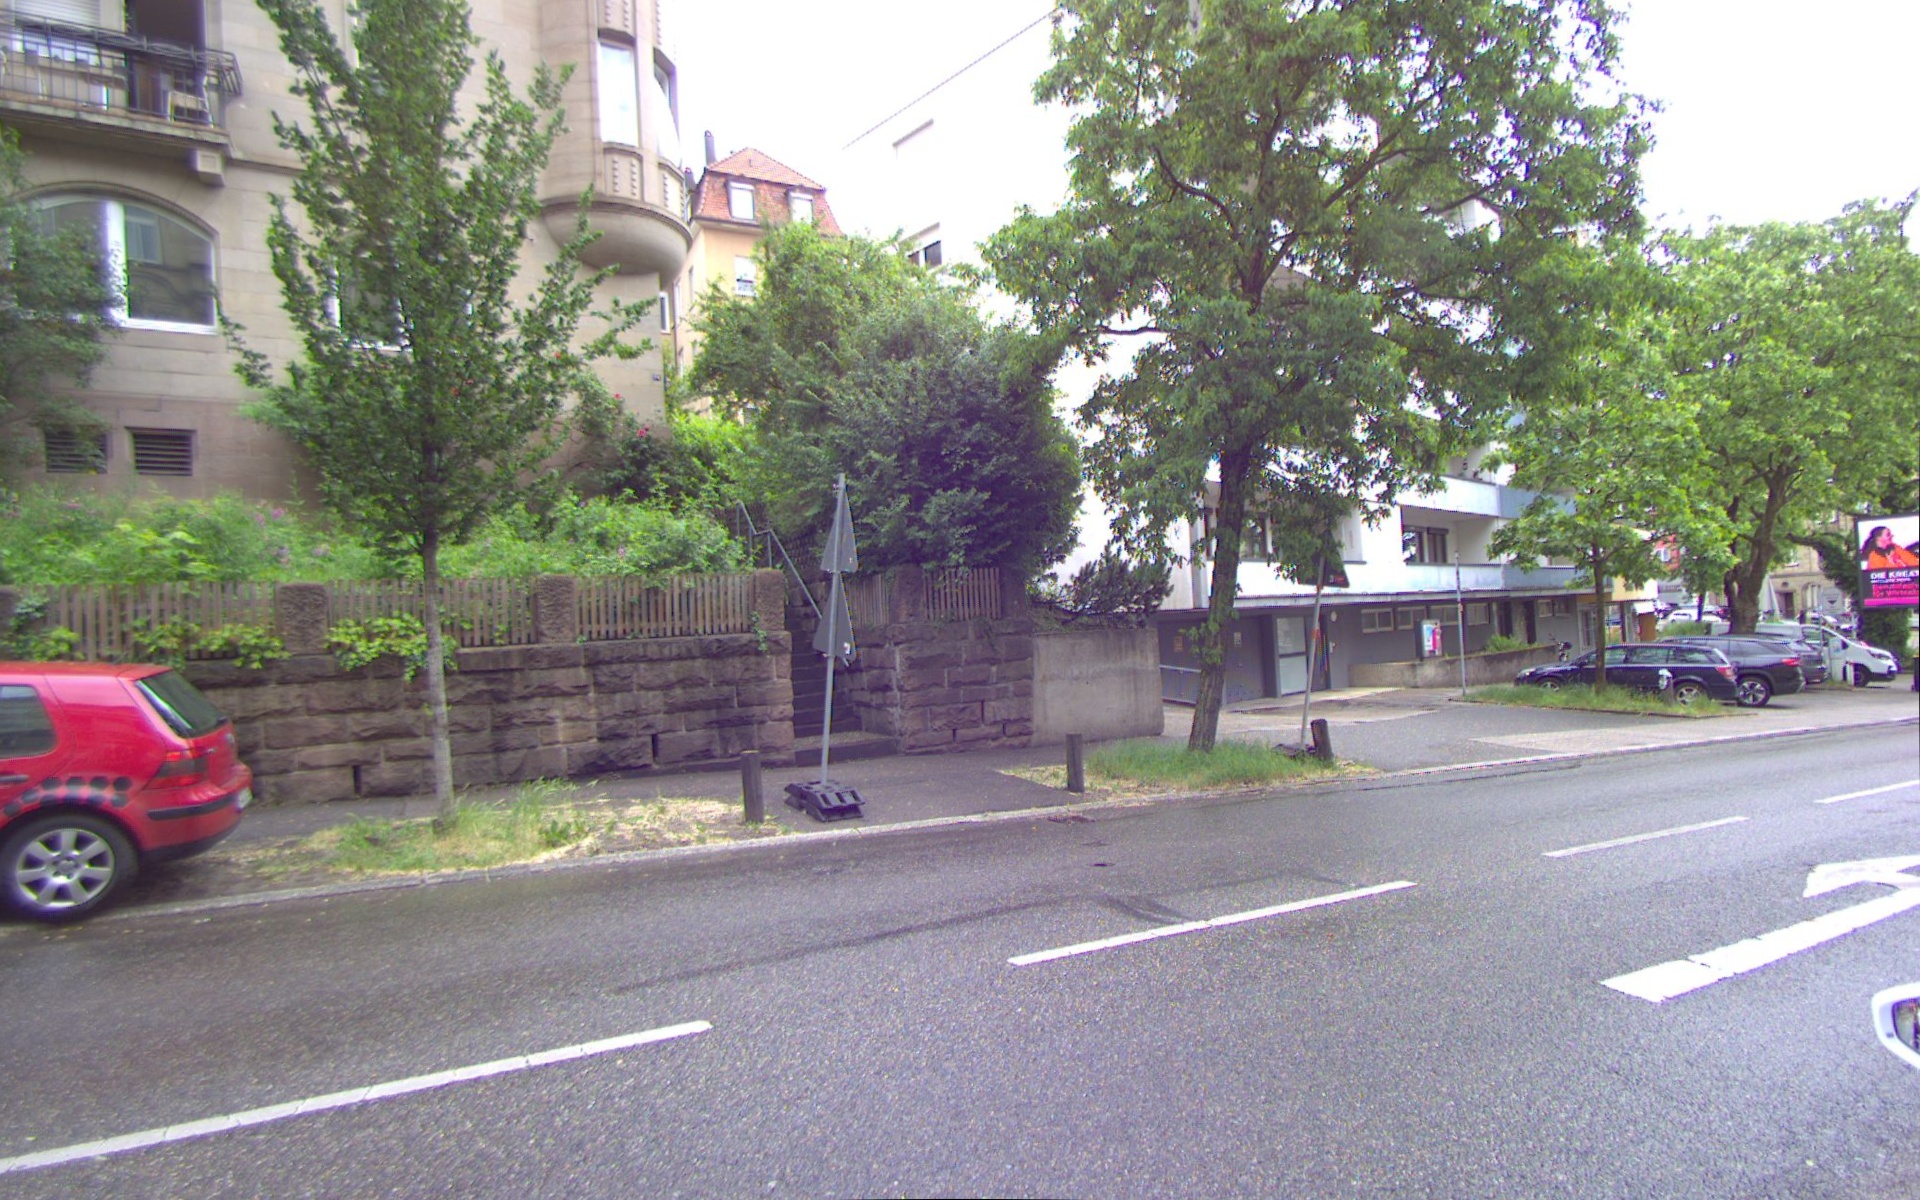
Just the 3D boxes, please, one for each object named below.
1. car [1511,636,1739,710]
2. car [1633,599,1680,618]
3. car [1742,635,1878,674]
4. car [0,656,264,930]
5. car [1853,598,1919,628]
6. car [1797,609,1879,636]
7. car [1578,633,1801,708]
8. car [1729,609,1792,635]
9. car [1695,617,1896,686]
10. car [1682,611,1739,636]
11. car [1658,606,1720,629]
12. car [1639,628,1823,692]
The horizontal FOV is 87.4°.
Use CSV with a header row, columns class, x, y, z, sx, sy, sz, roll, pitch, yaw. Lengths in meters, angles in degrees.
class,x,y,z,sx,sy,sz,roll,pitch,yaw
car,15.667,1.707,23.778,4.303,1.594,1.935,-3,-4,38
car,68.526,0.837,98.873,1.694,1.711,3.999,2,0,-2
car,33.059,2.102,39.195,3.925,1.469,1.761,-2,-3,40
car,-6.573,1.101,5.806,4.015,1.470,1.606,1,-2,-30
car,69.399,0.933,74.812,1.961,2.130,4.291,-1,1,-1
car,60.481,1.510,69.317,1.960,1.749,4.250,-1,0,1
car,18.030,1.732,24.993,4.312,1.694,1.848,-3,-4,38
car,69.160,1.865,86.836,1.961,2.130,4.291,-1,1,-1
car,27.665,1.693,33.491,5.000,2.132,1.983,-2,-3,40
car,68.722,2.149,92.052,1.961,2.130,4.291,-1,1,-1
car,60.373,1.472,83.249,1.961,1.749,4.249,-2,-1,-1
car,23.304,1.775,30.498,4.305,1.807,1.931,-2,-3,40
